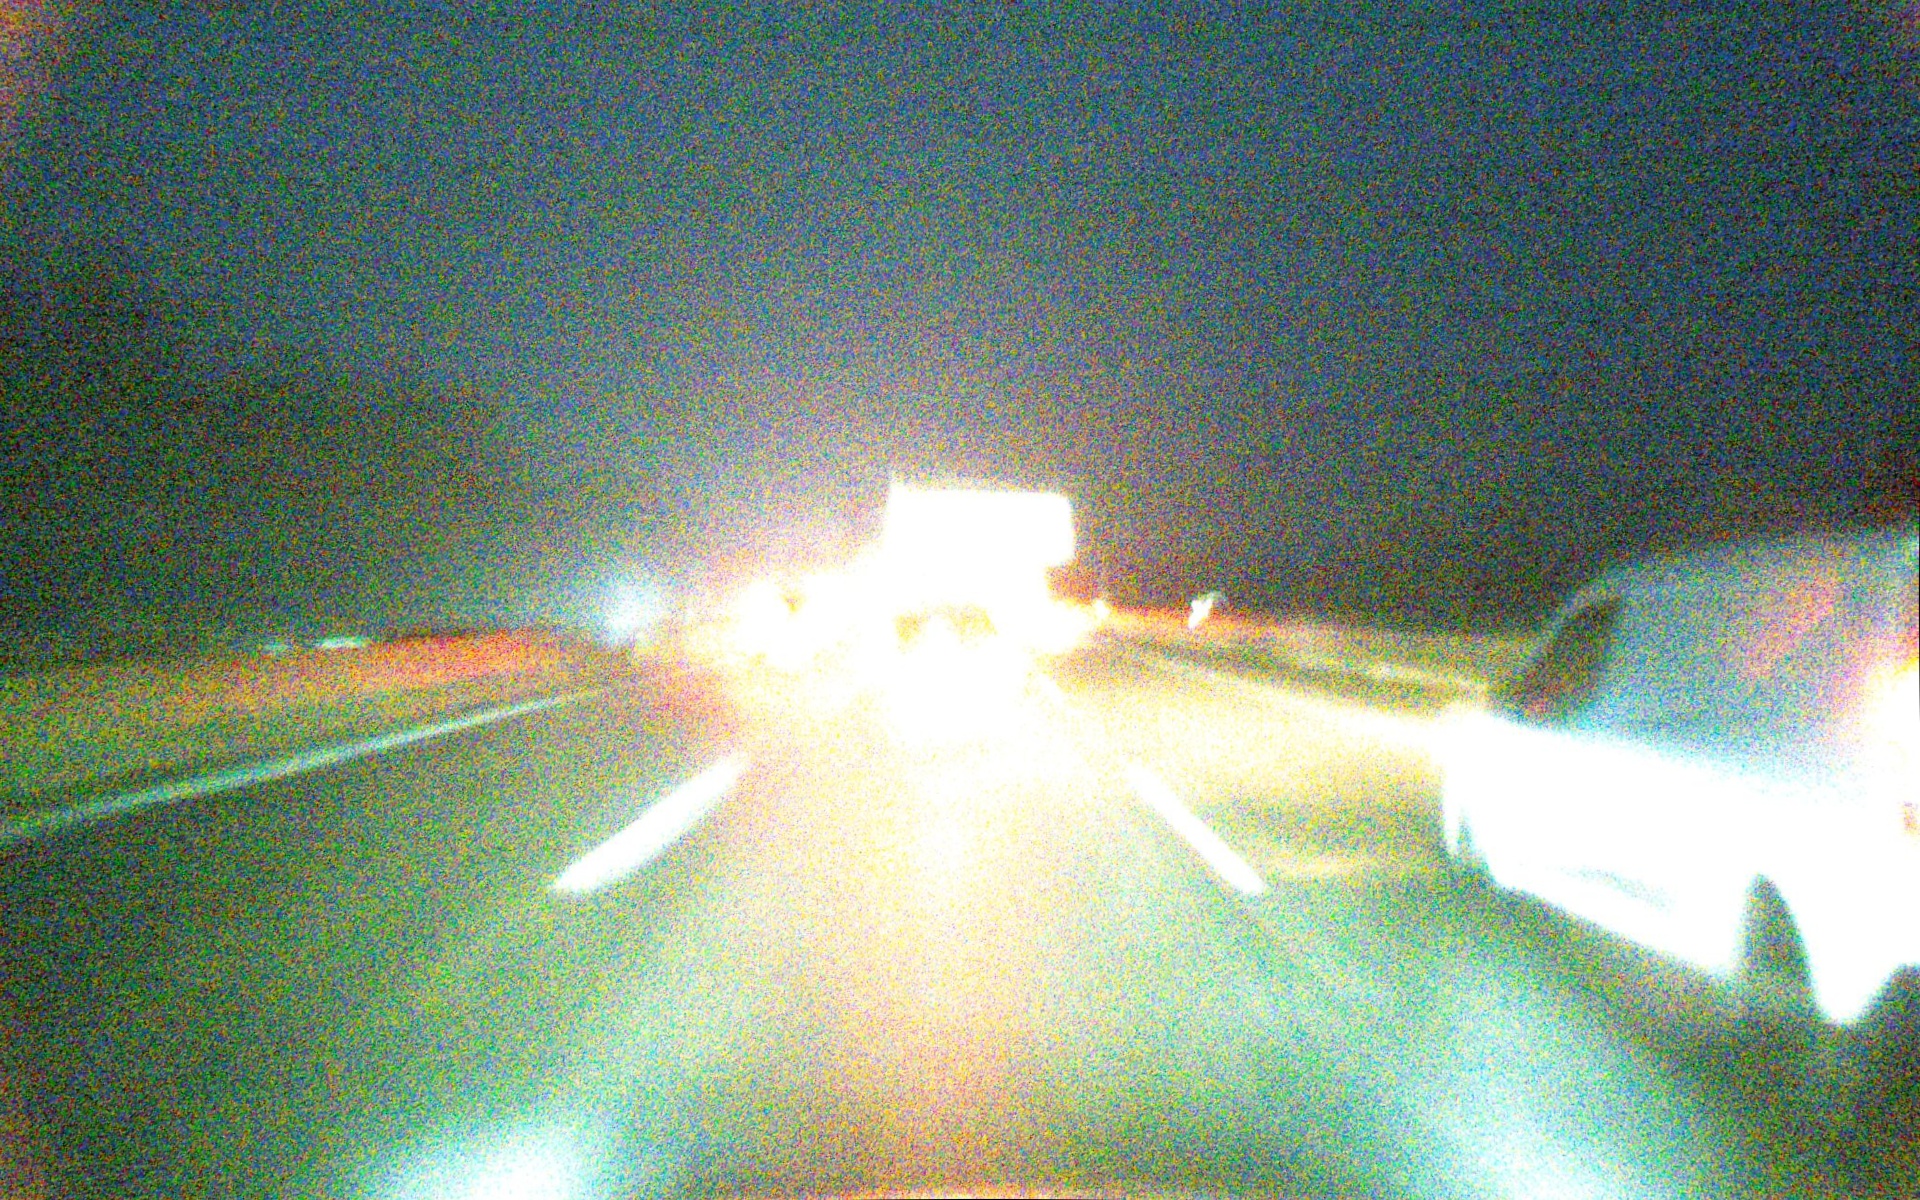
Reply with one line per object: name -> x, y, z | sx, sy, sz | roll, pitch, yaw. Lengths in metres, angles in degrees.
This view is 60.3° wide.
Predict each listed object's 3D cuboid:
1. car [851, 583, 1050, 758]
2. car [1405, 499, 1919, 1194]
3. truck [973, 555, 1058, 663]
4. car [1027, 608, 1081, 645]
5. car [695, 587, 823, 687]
car -> -0.105, 0.702, 18.161 | 1.877, 1.622, 4.232 | -2, -1, -1
car -> 3.462, 0.638, 6.671 | 1.913, 1.823, 5.124 | 0, 0, 0
truck -> 3.020, 0.544, 95.064 | 4.083, 5.641, 13.071 | -2, -1, -1
car -> 3.742, 1.039, 66.451 | 1.851, 1.378, 3.999 | 1, 0, -1
car -> -4.005, 0.724, 33.741 | 1.953, 1.808, 4.887 | -2, -1, 0
